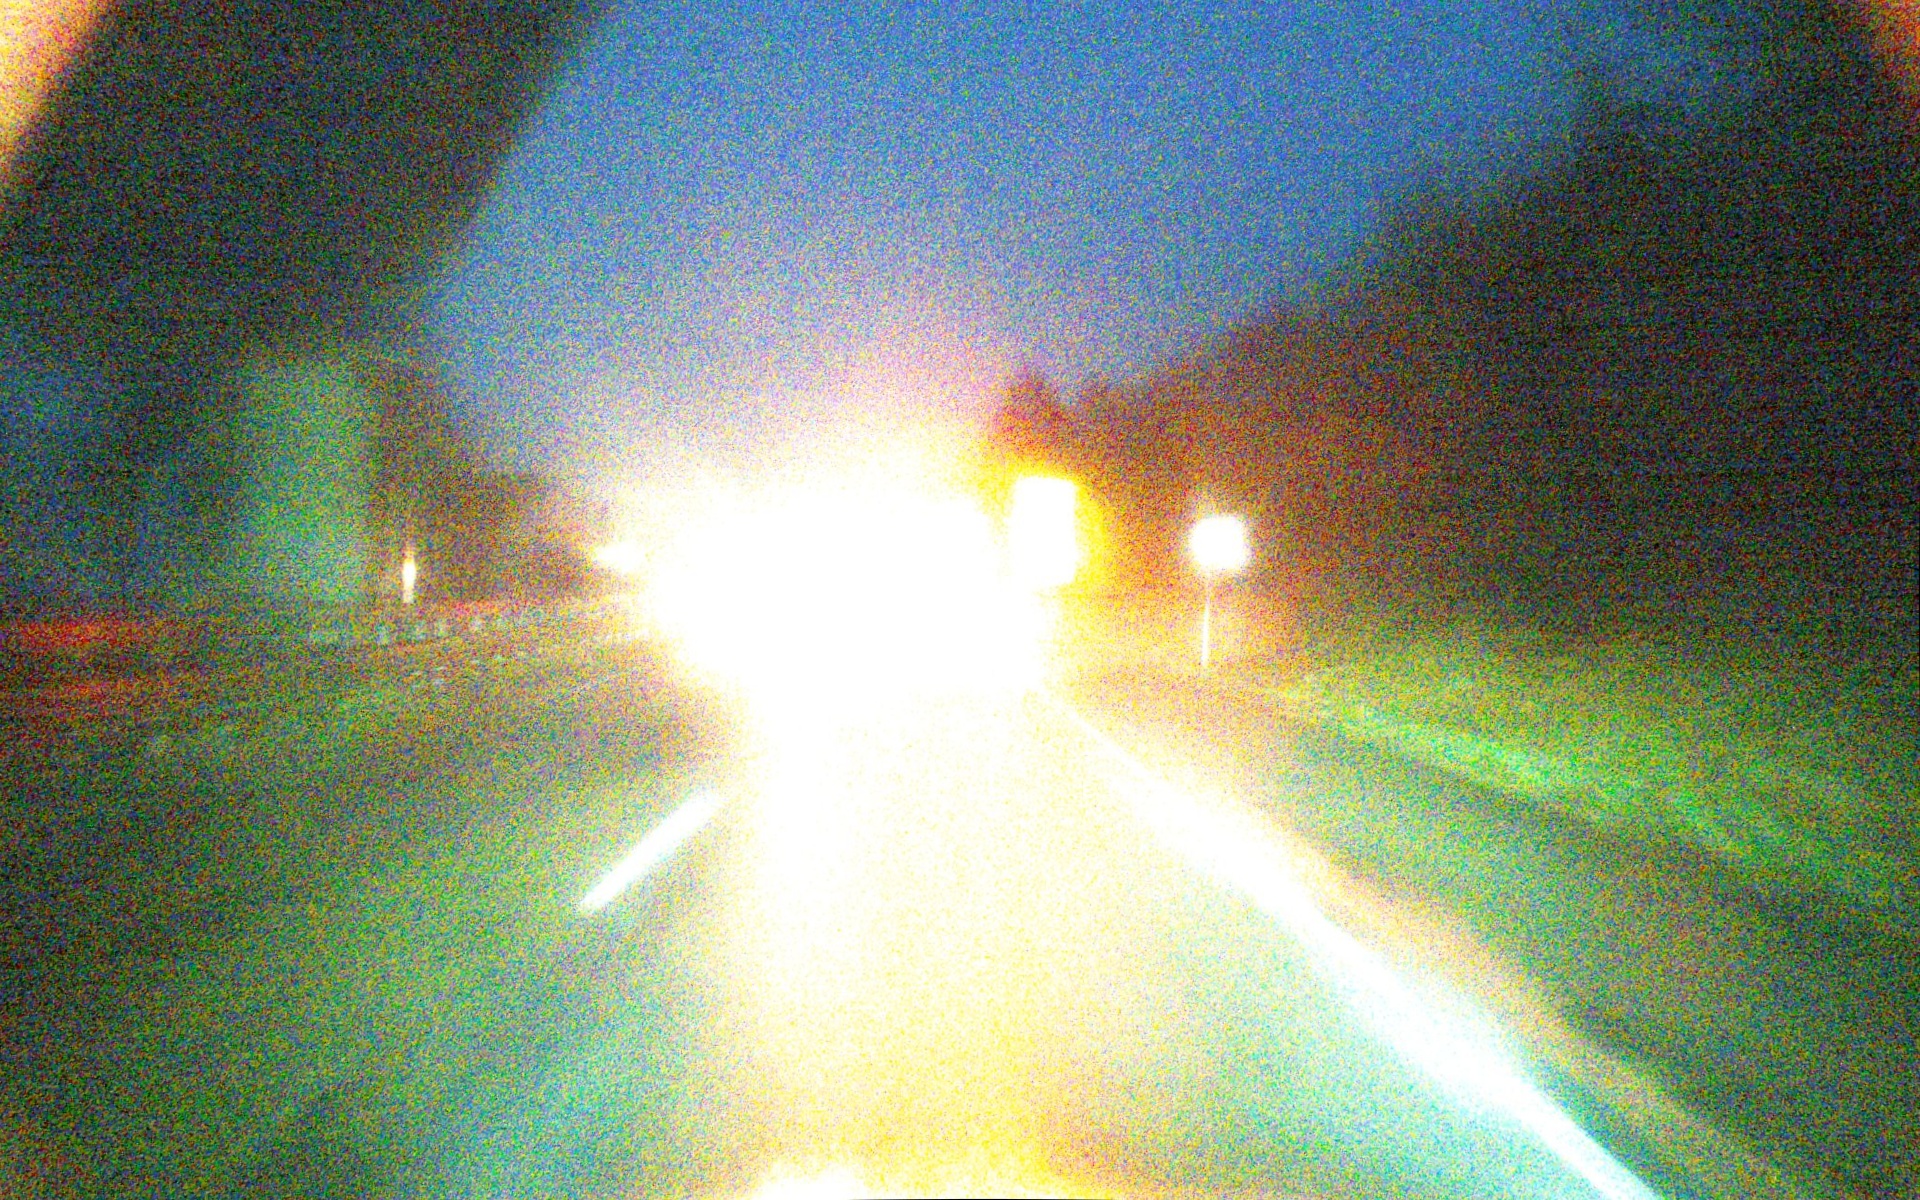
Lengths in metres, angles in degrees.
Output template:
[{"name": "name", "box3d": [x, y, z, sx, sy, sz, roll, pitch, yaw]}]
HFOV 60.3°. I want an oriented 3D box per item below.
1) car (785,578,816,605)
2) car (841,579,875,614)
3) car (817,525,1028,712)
[{"name": "car", "box3d": [-10.077, -0.559, 104.868, 1.826, 1.571, 4.226, 1, 2, -4]}, {"name": "car", "box3d": [-6.151, -0.220, 99.543, 1.954, 1.948, 3.997, 2, 0, -4]}, {"name": "car", "box3d": [-0.621, 0.221, 23.979, 2.661, 2.348, 6.097, 0, 0, -3]}]
